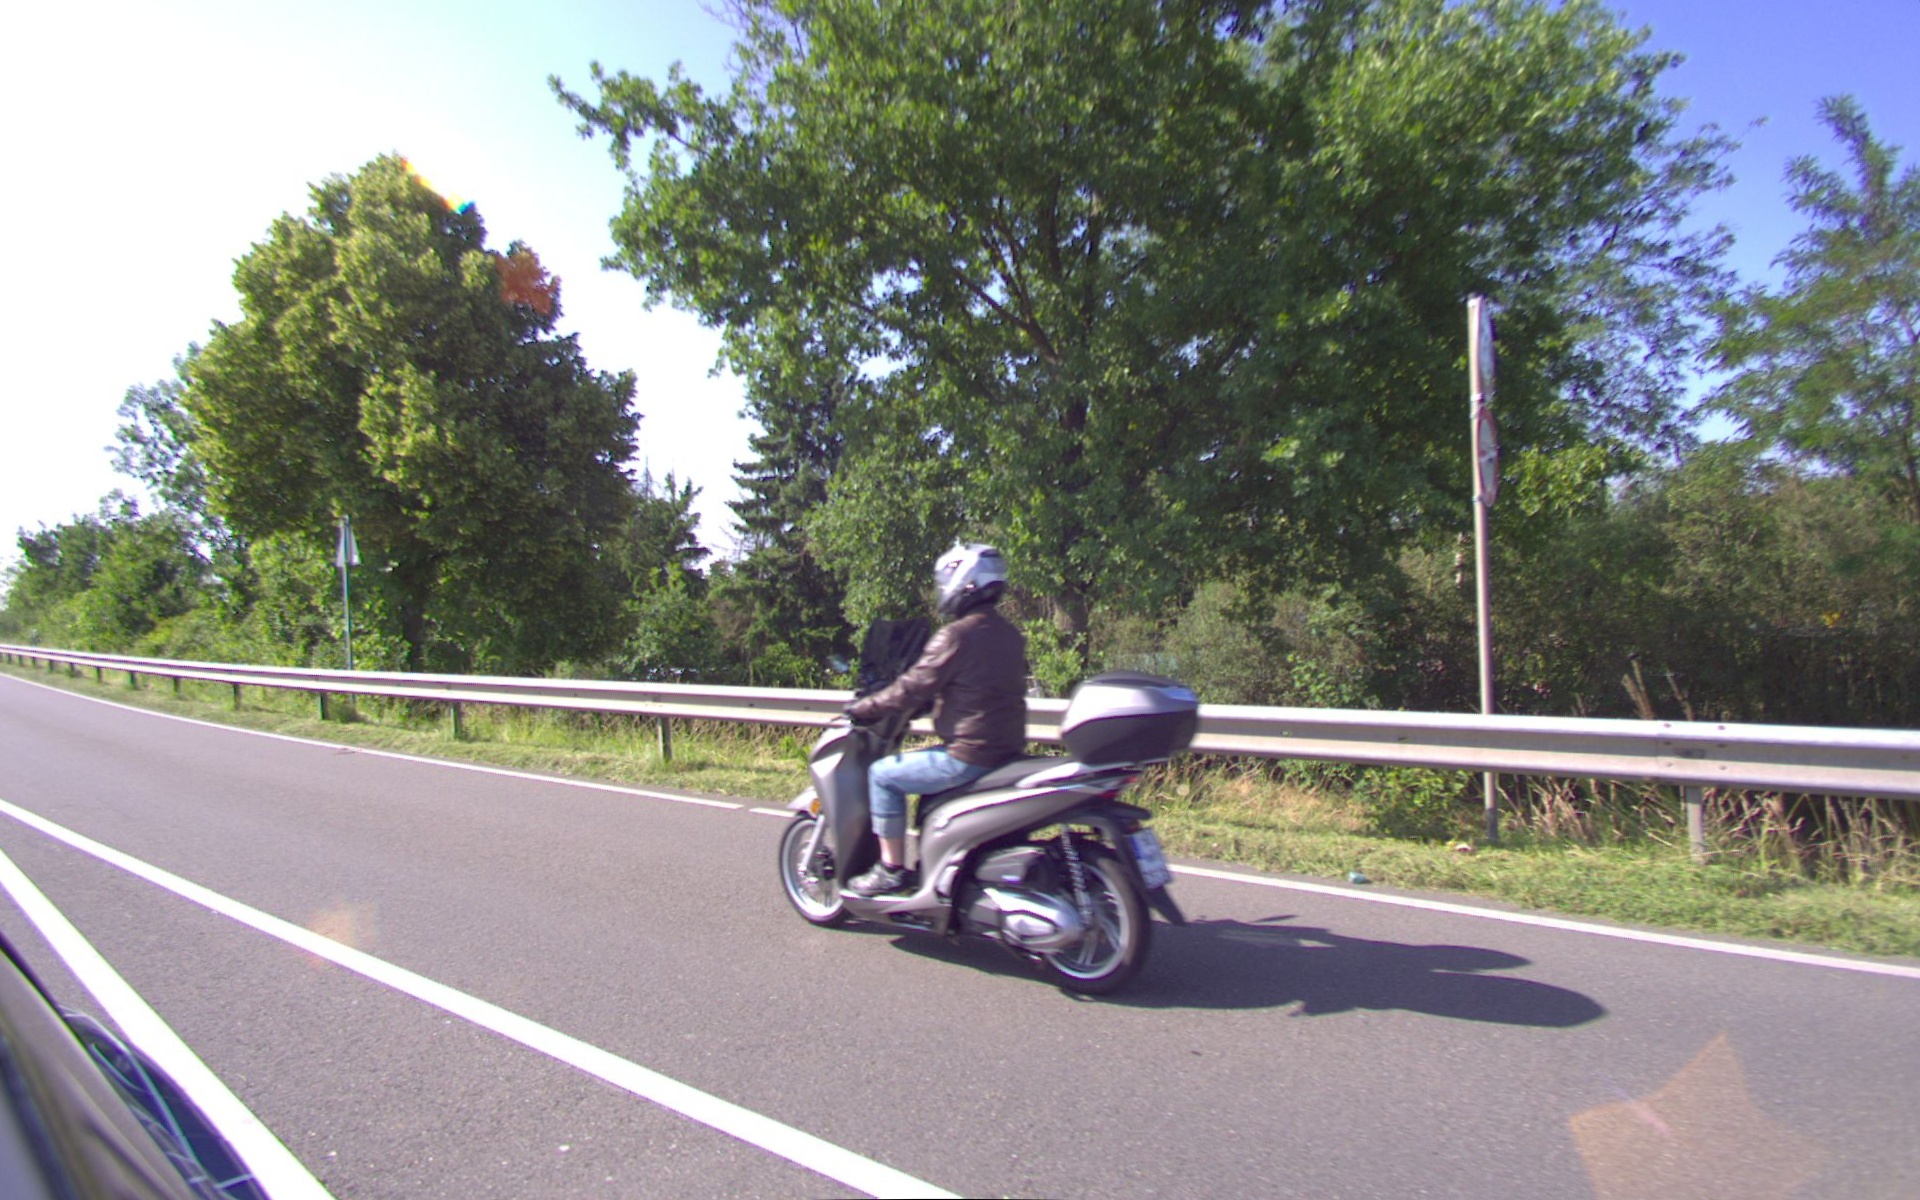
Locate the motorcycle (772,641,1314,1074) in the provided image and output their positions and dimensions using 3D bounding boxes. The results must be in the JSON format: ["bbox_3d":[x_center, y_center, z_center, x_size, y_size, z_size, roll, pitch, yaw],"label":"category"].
[{"bbox_3d":[0.216,0.800,3.957,2.076,1.259,0.710,-2,-2,40],"label":"motorcycle"}]

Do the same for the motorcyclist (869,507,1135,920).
[{"bbox_3d":[0.167,0.400,4.005,0.783,1.418,0.692,-2,-2,39],"label":"motorcyclist"}]
